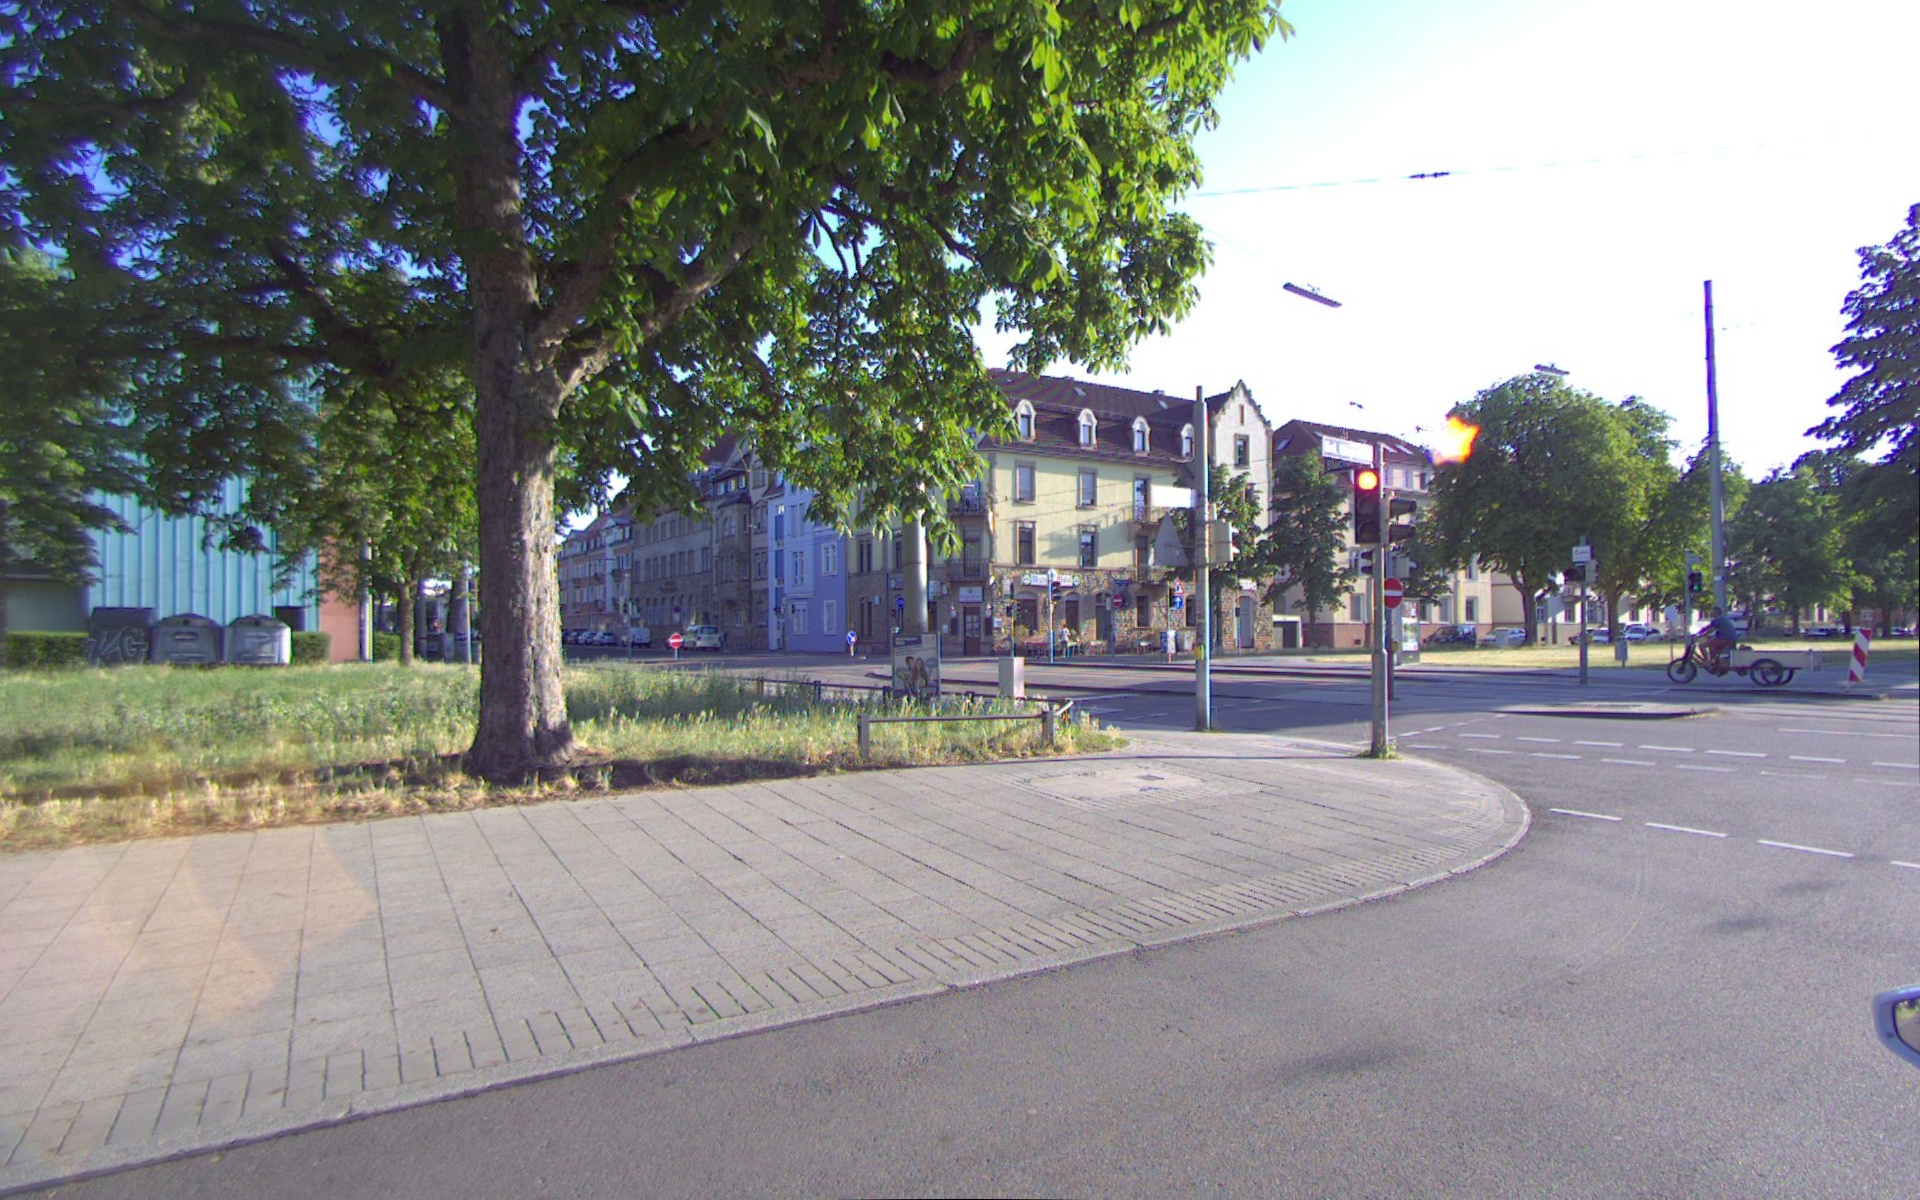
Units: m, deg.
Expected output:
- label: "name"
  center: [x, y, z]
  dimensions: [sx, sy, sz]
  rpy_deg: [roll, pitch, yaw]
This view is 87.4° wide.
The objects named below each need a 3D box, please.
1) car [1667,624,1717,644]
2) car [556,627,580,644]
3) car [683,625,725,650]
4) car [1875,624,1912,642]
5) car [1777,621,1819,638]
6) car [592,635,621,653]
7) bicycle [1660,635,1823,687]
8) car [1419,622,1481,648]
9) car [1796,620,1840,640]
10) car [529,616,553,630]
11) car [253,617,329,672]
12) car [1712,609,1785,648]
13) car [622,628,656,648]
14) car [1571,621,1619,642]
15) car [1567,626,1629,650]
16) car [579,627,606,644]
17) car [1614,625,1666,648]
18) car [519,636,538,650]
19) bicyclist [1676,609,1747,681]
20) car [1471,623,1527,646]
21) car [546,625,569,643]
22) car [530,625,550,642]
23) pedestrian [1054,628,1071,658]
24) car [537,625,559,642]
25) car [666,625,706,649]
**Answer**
- label: "car"
  center: [66.882, 3.098, 91.770]
  dimensions: [4.517, 1.681, 1.984]
  rpy_deg: [2, 0, -30]
- label: "car"
  center: [-46.001, 4.121, 117.736]
  dimensions: [1.782, 1.855, 3.755]
  rpy_deg: [2, 0, -34]
- label: "car"
  center: [-19.967, 2.931, 78.329]
  dimensions: [2.011, 1.760, 3.743]
  rpy_deg: [2, 0, -34]
- label: "car"
  center: [97.847, 3.453, 105.249]
  dimensions: [4.075, 1.804, 1.802]
  rpy_deg: [2, 0, -31]
- label: "car"
  center: [86.978, 3.069, 104.287]
  dimensions: [4.323, 1.681, 1.984]
  rpy_deg: [2, 0, -30]
- label: "car"
  center: [-36.494, 4.522, 103.650]
  dimensions: [1.980, 1.694, 3.743]
  rpy_deg: [2, 0, -34]
- label: "bicycle"
  center: [18.992, 1.467, 24.538]
  dimensions: [0.863, 1.176, 3.063]
  rpy_deg: [1, -3, -26]
- label: "car"
  center: [35.698, 2.561, 73.182]
  dimensions: [4.261, 1.759, 1.984]
  rpy_deg: [2, 0, -30]
- label: "car"
  center: [80.912, 2.838, 94.694]
  dimensions: [4.266, 1.696, 1.869]
  rpy_deg: [2, 0, -31]
- label: "car"
  center: [-58.162, 3.160, 139.471]
  dimensions: [1.912, 1.715, 3.951]
  rpy_deg: [2, 1, -41]
- label: "car"
  center: [-22.873, 1.586, 34.397]
  dimensions: [1.979, 1.693, 5.177]
  rpy_deg: [2, -4, -34]
- label: "car"
  center: [67.947, 2.438, 86.504]
  dimensions: [7.764, 3.173, 2.379]
  rpy_deg: [1, 1, -32]
- label: "car"
  center: [-29.982, 3.580, 93.846]
  dimensions: [1.980, 1.694, 3.743]
  rpy_deg: [2, 0, -34]
- label: "car"
  center: [52.825, 2.600, 83.556]
  dimensions: [4.142, 1.654, 1.707]
  rpy_deg: [2, 0, -30]
- label: "car"
  center: [46.515, 2.775, 73.239]
  dimensions: [4.517, 1.681, 1.984]
  rpy_deg: [2, 0, -30]
- label: "car"
  center: [-39.649, 3.854, 108.340]
  dimensions: [1.816, 1.692, 3.911]
  rpy_deg: [2, 0, -34]
- label: "car"
  center: [51.572, 2.739, 76.170]
  dimensions: [4.372, 1.575, 1.785]
  rpy_deg: [0, 1, -34]
- label: "car"
  center: [-57.887, 5.726, 134.697]
  dimensions: [1.713, 1.694, 3.638]
  rpy_deg: [2, 0, -33]
- label: "bicyclist"
  center: [18.730, 1.120, 25.058]
  dimensions: [0.864, 1.746, 1.141]
  rpy_deg: [1, -3, -27]
- label: "car"
  center: [40.930, 2.628, 76.317]
  dimensions: [3.953, 1.681, 1.984]
  rpy_deg: [2, 0, -30]
- label: "car"
  center: [-48.986, 4.090, 122.097]
  dimensions: [1.805, 2.040, 3.924]
  rpy_deg: [2, 0, -34]
- label: "car"
  center: [-54.670, 4.359, 130.745]
  dimensions: [1.756, 2.040, 3.790]
  rpy_deg: [2, 0, -34]
- label: "pedestrian"
  center: [5.740, 2.425, 56.260]
  dimensions: [0.676, 1.646, 0.612]
  rpy_deg: [2, 0, -34]
- label: "car"
  center: [-51.967, 4.228, 126.666]
  dimensions: [1.789, 2.040, 3.772]
  rpy_deg: [2, 0, -33]
- label: "car"
  center: [-22.472, 2.997, 82.255]
  dimensions: [1.980, 1.763, 3.962]
  rpy_deg: [1, 0, -34]
